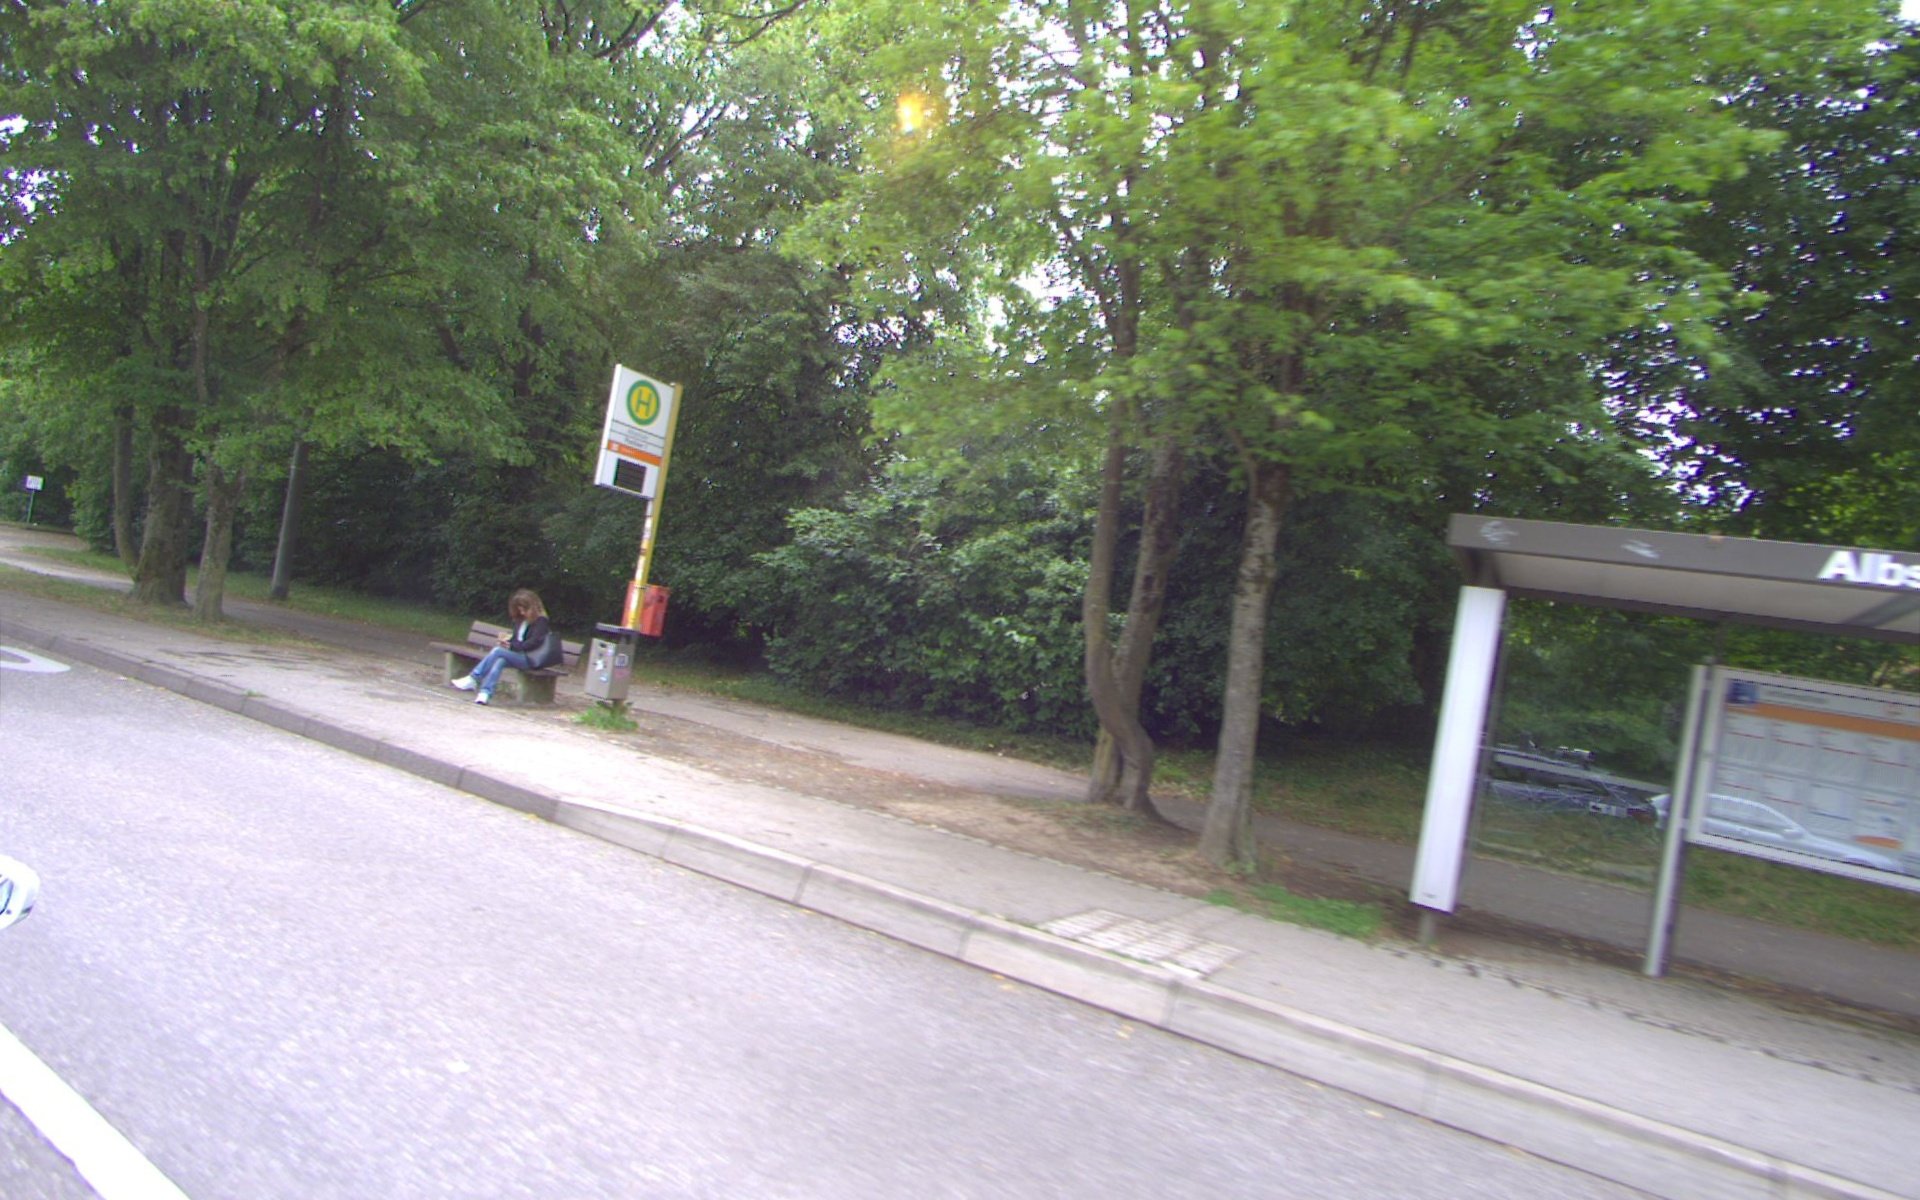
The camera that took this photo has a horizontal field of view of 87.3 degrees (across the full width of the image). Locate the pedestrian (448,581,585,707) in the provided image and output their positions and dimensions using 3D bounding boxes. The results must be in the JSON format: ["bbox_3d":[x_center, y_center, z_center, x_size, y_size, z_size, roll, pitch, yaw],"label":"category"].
[{"bbox_3d":[-4.635,0.483,10.563,0.570,1.196,1.066,7,-1,27],"label":"pedestrian"}]
